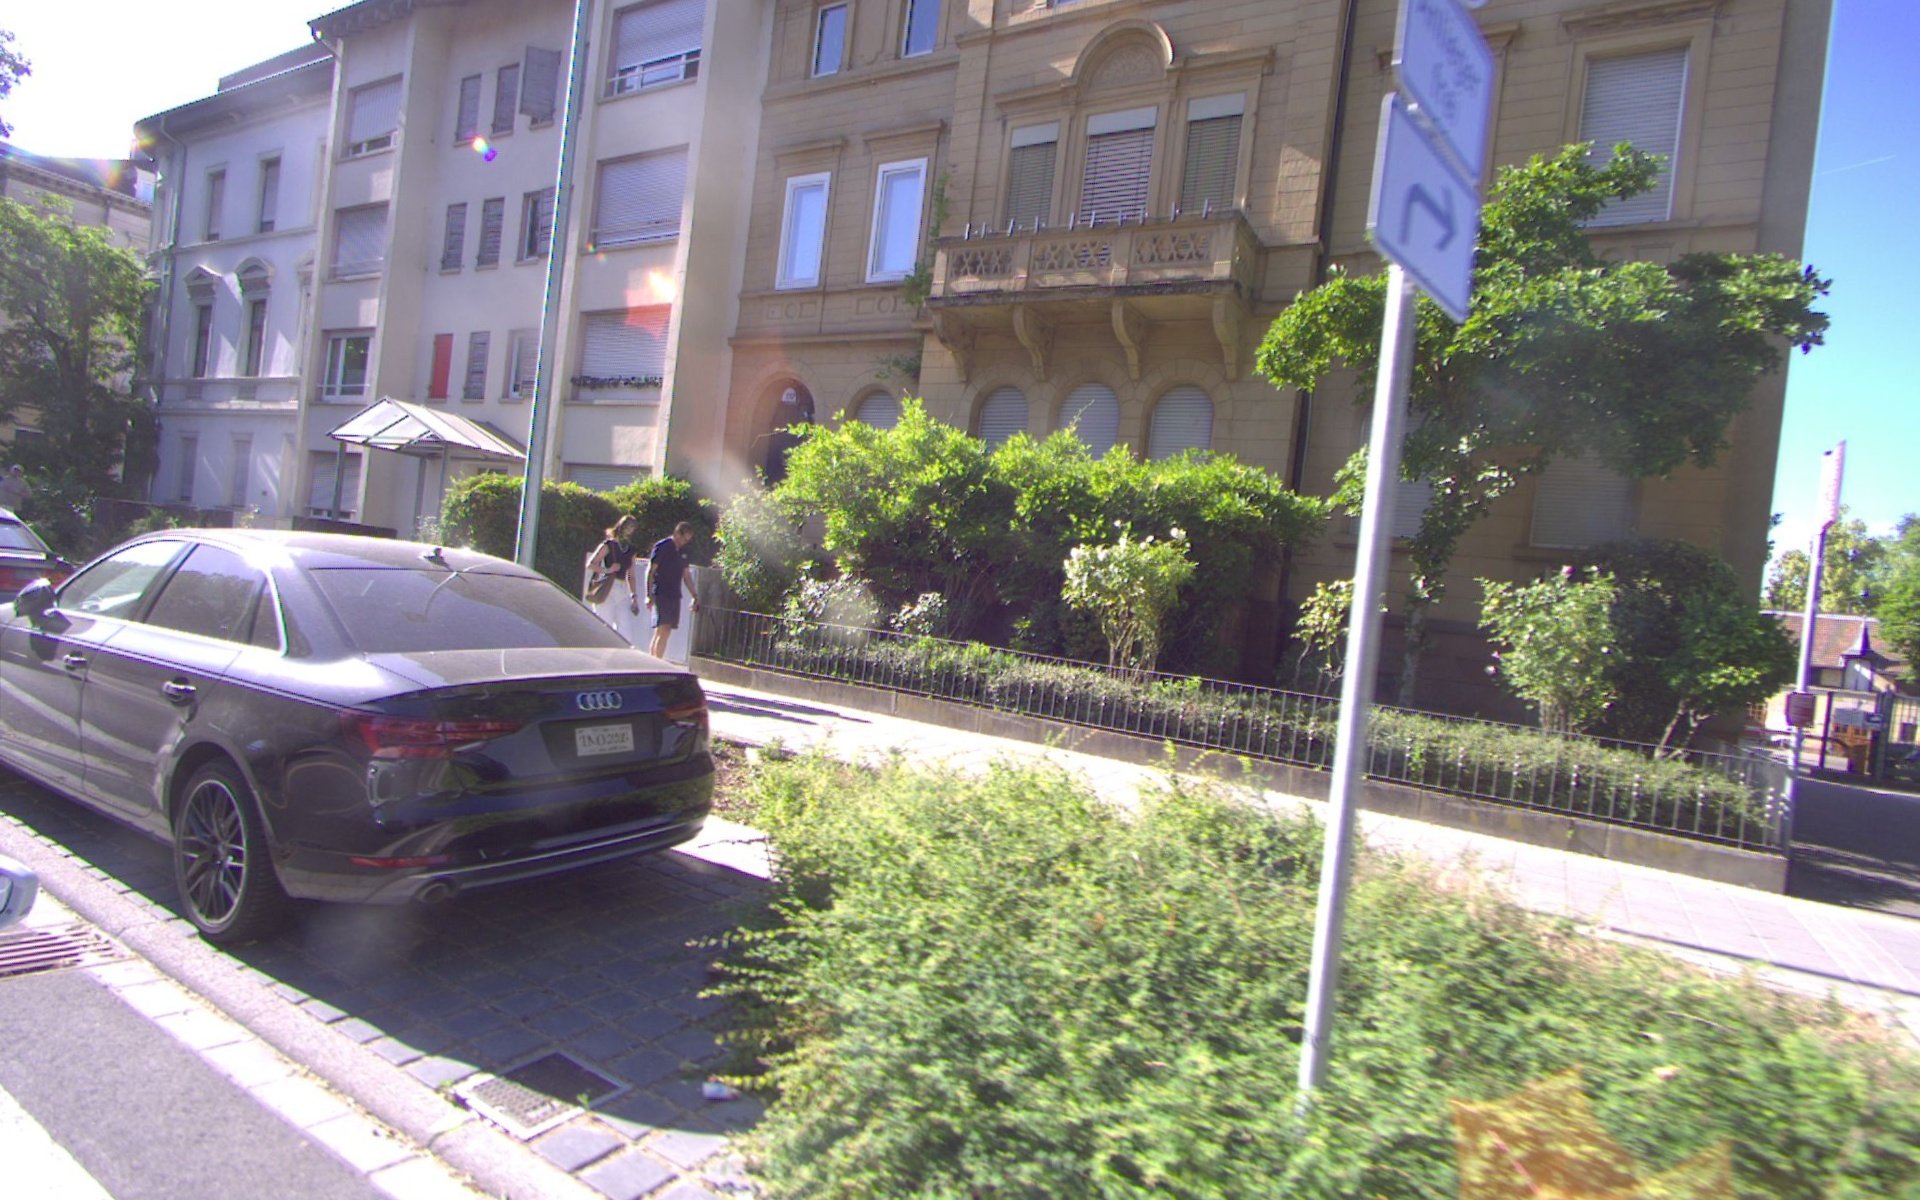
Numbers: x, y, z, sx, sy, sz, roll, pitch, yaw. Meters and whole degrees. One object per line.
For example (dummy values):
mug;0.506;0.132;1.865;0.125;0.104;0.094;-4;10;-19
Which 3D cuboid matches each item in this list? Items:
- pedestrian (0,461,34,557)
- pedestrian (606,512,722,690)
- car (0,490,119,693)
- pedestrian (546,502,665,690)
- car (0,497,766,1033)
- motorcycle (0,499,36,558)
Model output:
pedestrian;-19.325;-1.854;20.313;0.683;1.872;0.665;7;1;32
pedestrian;-3.213;0.019;10.938;0.788;1.819;0.697;7;1;32
car;-8.604;-0.253;8.005;3.981;1.431;1.717;7;1;32
pedestrian;-3.639;-0.030;10.347;0.703;1.819;0.697;7;1;31
car;-3.208;0.376;4.835;4.402;1.432;1.716;7;3;32
motorcycle;-20.910;-1.596;22.090;1.532;1.201;0.596;7;0;39
